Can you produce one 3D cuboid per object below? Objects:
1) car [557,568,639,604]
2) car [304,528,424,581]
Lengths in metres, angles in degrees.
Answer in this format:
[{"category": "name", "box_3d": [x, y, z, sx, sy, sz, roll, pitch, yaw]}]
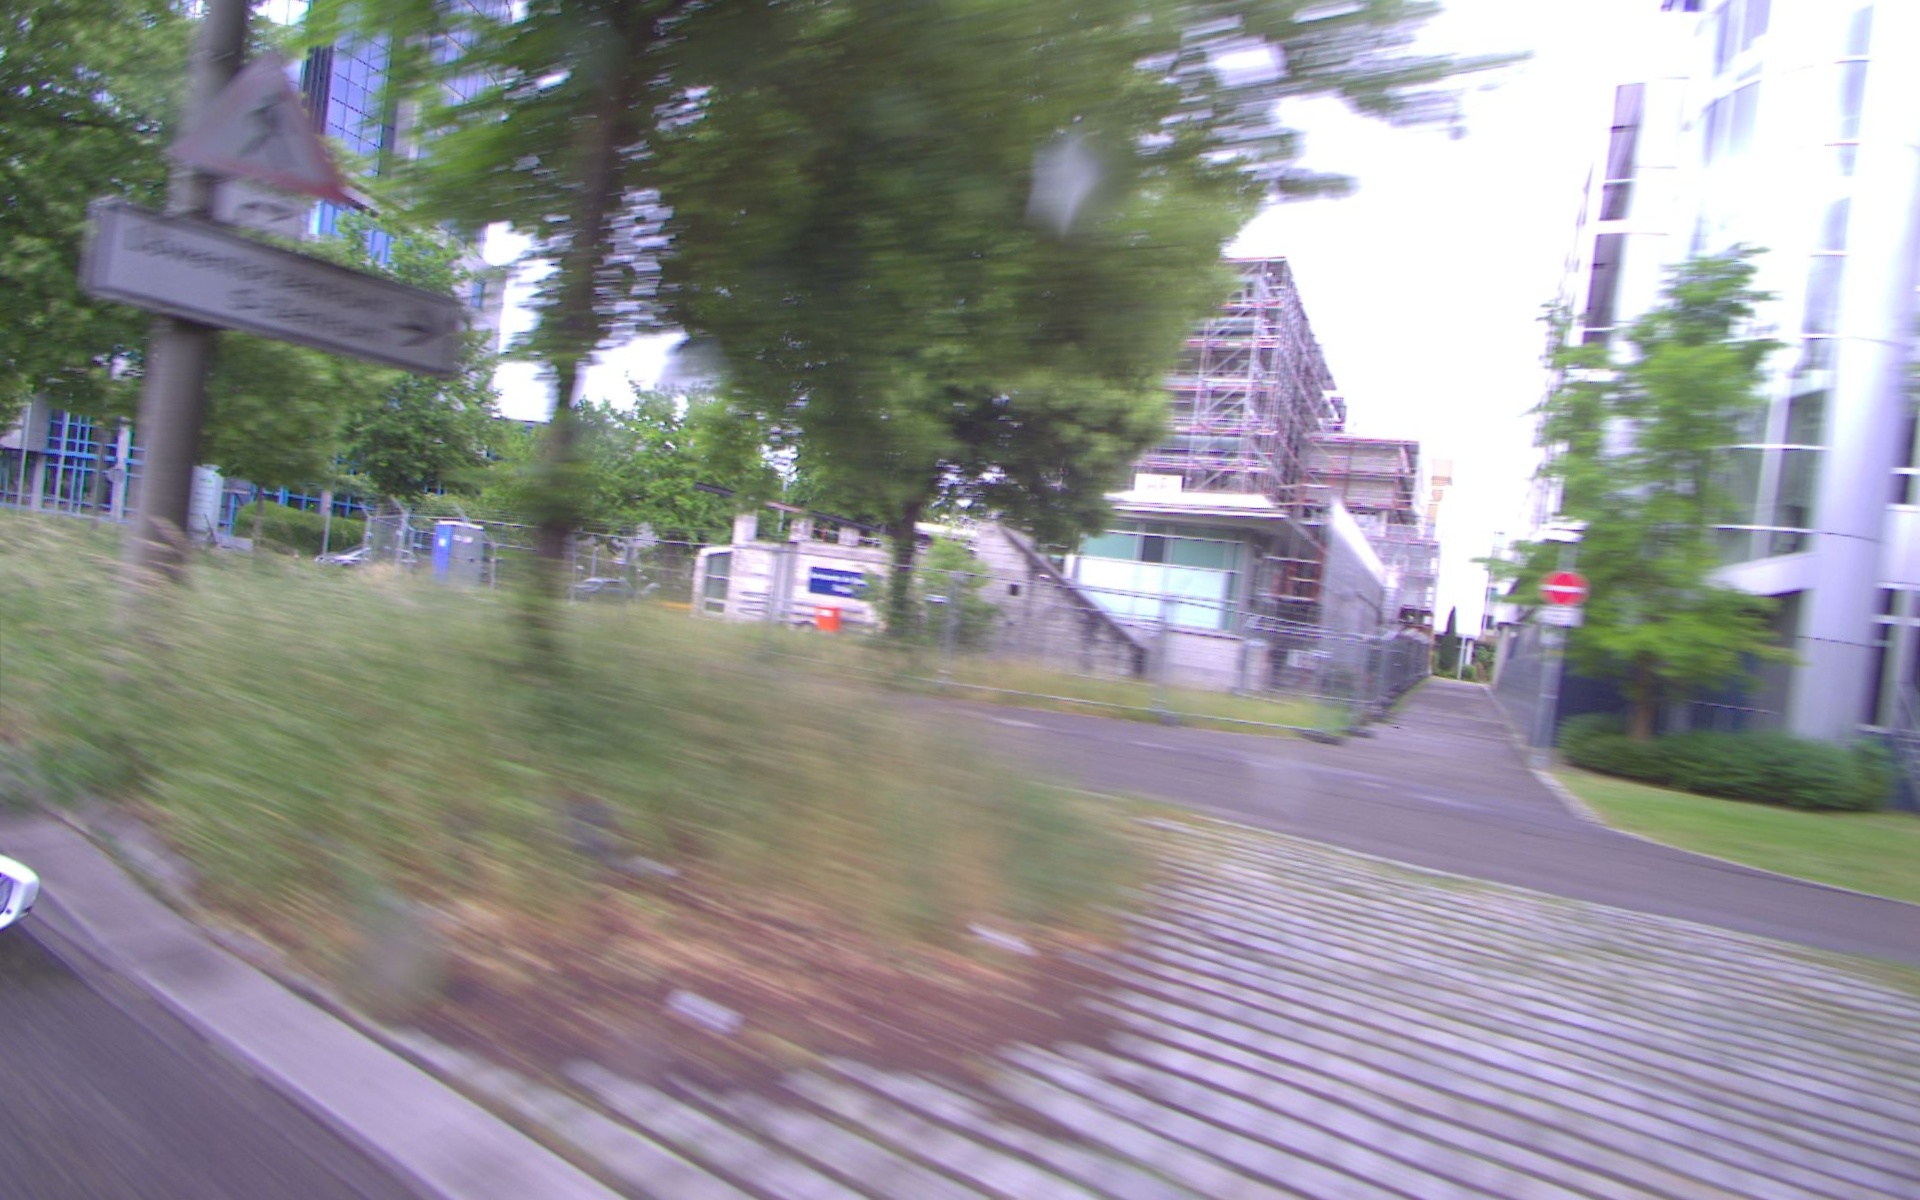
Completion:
[{"category": "car", "box_3d": [-20.013, -0.763, 55.776, 1.726, 1.451, 4.107, 10, 1, 25]}, {"category": "car", "box_3d": [-26.284, -1.987, 44.449, 1.730, 1.662, 4.098, 10, 1, 36]}]
